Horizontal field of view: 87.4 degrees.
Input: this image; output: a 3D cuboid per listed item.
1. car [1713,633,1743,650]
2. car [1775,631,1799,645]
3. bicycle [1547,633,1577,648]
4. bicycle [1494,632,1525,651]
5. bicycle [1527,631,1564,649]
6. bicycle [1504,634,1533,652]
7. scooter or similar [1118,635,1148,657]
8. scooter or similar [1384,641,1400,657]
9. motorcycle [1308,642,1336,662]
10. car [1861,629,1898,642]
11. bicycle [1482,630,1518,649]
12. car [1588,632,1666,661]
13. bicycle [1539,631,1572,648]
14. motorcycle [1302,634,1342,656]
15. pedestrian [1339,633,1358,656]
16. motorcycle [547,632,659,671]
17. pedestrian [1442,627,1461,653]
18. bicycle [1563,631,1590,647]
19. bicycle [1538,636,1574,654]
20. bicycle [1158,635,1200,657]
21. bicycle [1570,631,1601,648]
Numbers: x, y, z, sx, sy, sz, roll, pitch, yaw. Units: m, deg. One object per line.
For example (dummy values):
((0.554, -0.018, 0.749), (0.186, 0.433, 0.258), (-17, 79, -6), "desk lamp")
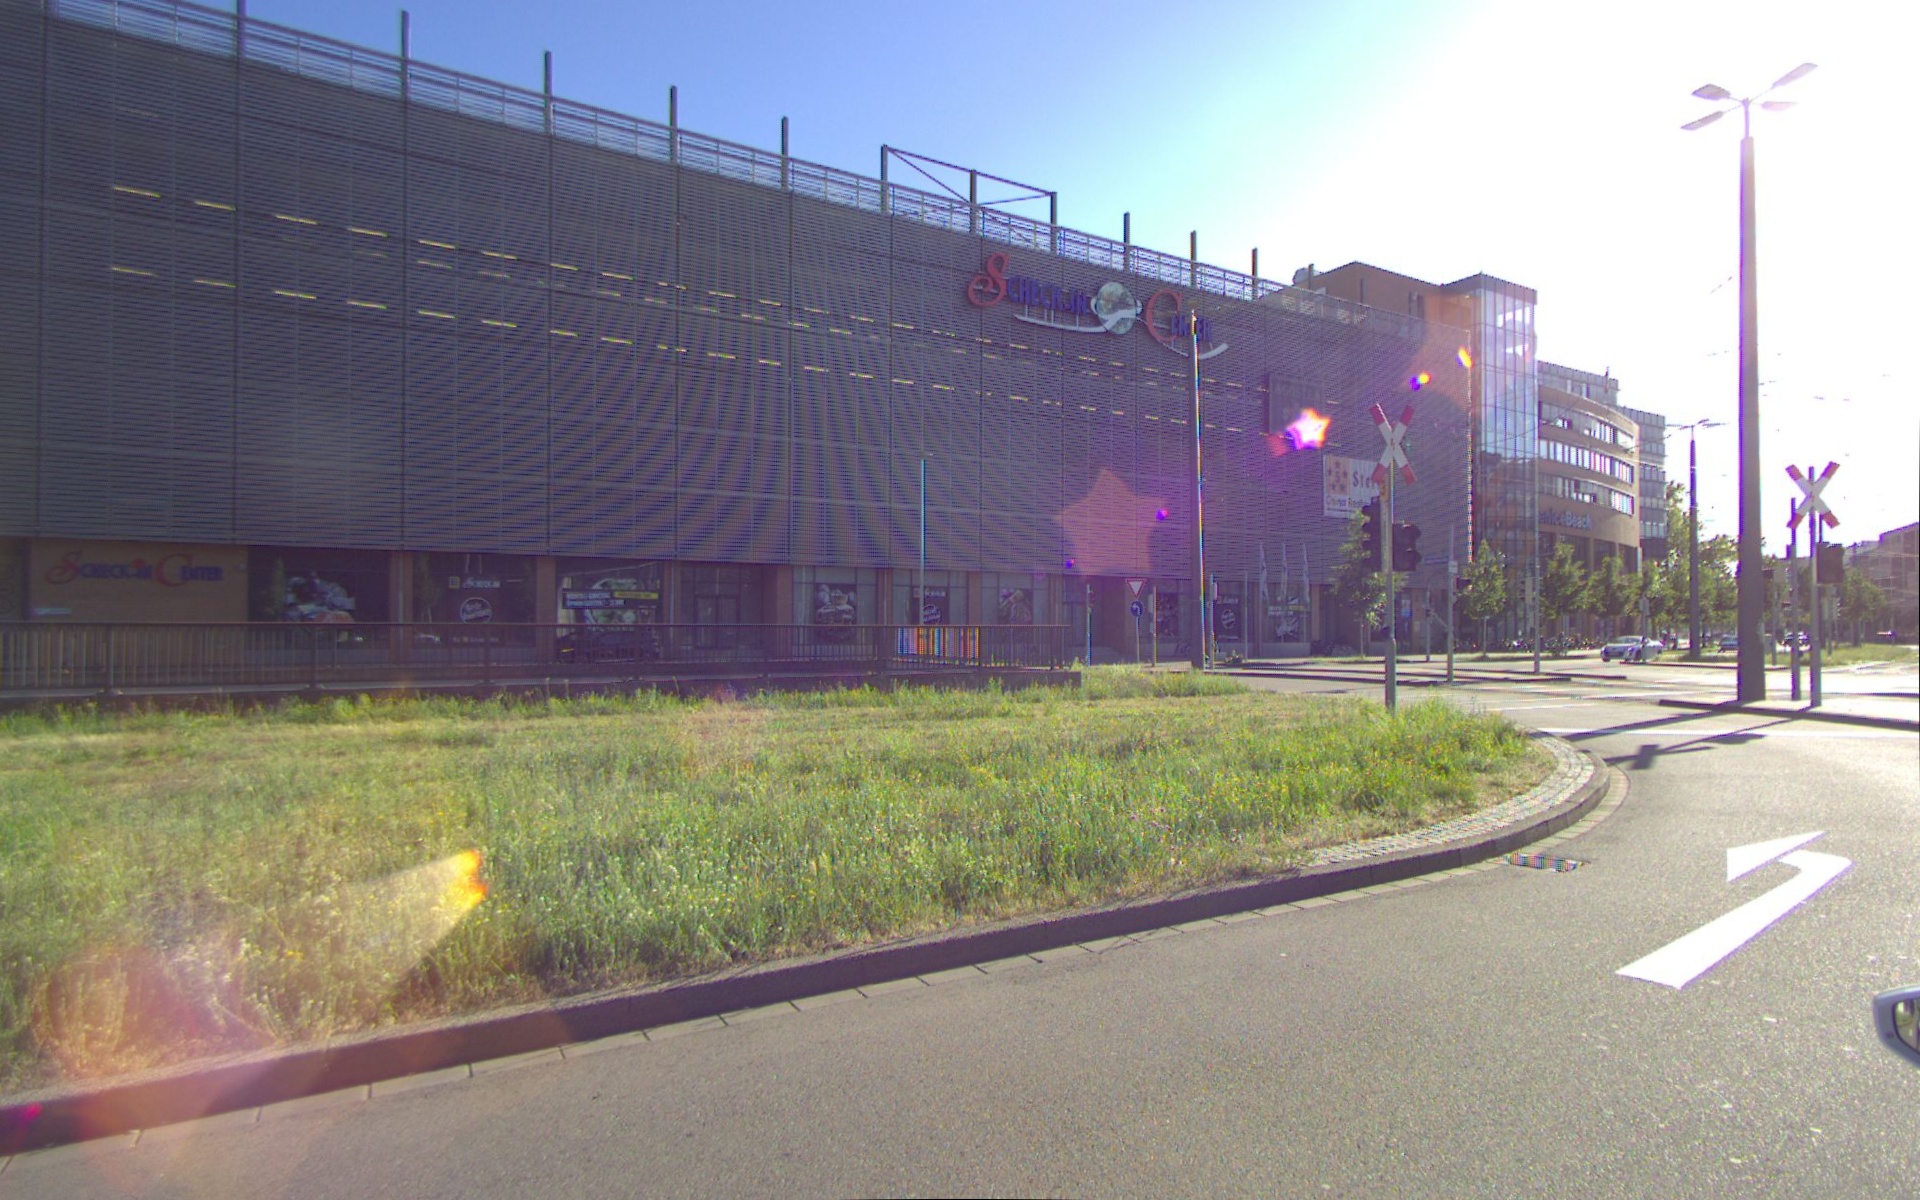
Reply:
((69.778, 3.754, 91.325), (1.869, 1.425, 3.988), (-2, -2, 34), "car")
((101.623, 4.640, 123.419), (1.973, 1.661, 4.384), (-1, -2, 45), "car")
((53.716, 3.609, 89.633), (0.734, 1.252, 2.410), (1, -3, -21), "bicycle")
((42.952, 3.220, 78.485), (0.848, 1.452, 2.080), (1, -3, -21), "bicycle")
((47.138, 3.209, 80.907), (0.891, 1.452, 2.558), (1, -3, -21), "bicycle")
((43.913, 3.378, 79.005), (0.795, 1.452, 1.975), (1, -3, -21), "bicycle")
((9.871, 2.624, 57.436), (1.555, 1.222, 0.790), (2, -3, -30), "scooter or similar")
((29.760, 3.374, 69.209), (1.138, 1.124, 0.419), (2, -3, -30), "scooter or similar")
((22.861, 3.263, 63.429), (1.872, 1.255, 0.672), (2, -3, -31), "motorcycle")
((129.206, 4.983, 141.102), (4.343, 1.661, 1.992), (1, -2, -19), "car")
((41.961, 3.105, 78.089), (1.060, 1.452, 2.366), (1, -3, -21), "bicycle")
((37.263, 2.558, 56.079), (4.479, 1.566, 1.983), (1, -2, -32), "car")
((52.583, 3.467, 88.772), (0.760, 1.452, 2.603), (1, -3, -21), "bicycle")
((23.626, 2.930, 65.533), (2.582, 1.465, 0.963), (1, -2, -27), "motorcycle")
((26.581, 3.040, 68.733), (0.819, 1.586, 0.983), (2, -3, -30), "pedestrian")
((-14.247, 2.008, 40.102), (3.953, 1.472, 1.984), (1, -2, -31), "motorcycle")
((35.187, 2.847, 71.882), (0.894, 1.848, 0.823), (2, -3, -29), "pedestrian")
((56.043, 3.529, 91.325), (0.747, 1.452, 2.135), (1, -3, -21), "bicycle")
((48.847, 3.666, 82.388), (0.891, 1.452, 2.558), (1, -3, -21), "bicycle")
((12.380, 2.600, 56.716), (2.384, 1.237, 0.797), (1, -2, -27), "bicycle")
((57.154, 3.619, 91.827), (0.777, 1.452, 2.417), (1, -3, -21), "bicycle")
